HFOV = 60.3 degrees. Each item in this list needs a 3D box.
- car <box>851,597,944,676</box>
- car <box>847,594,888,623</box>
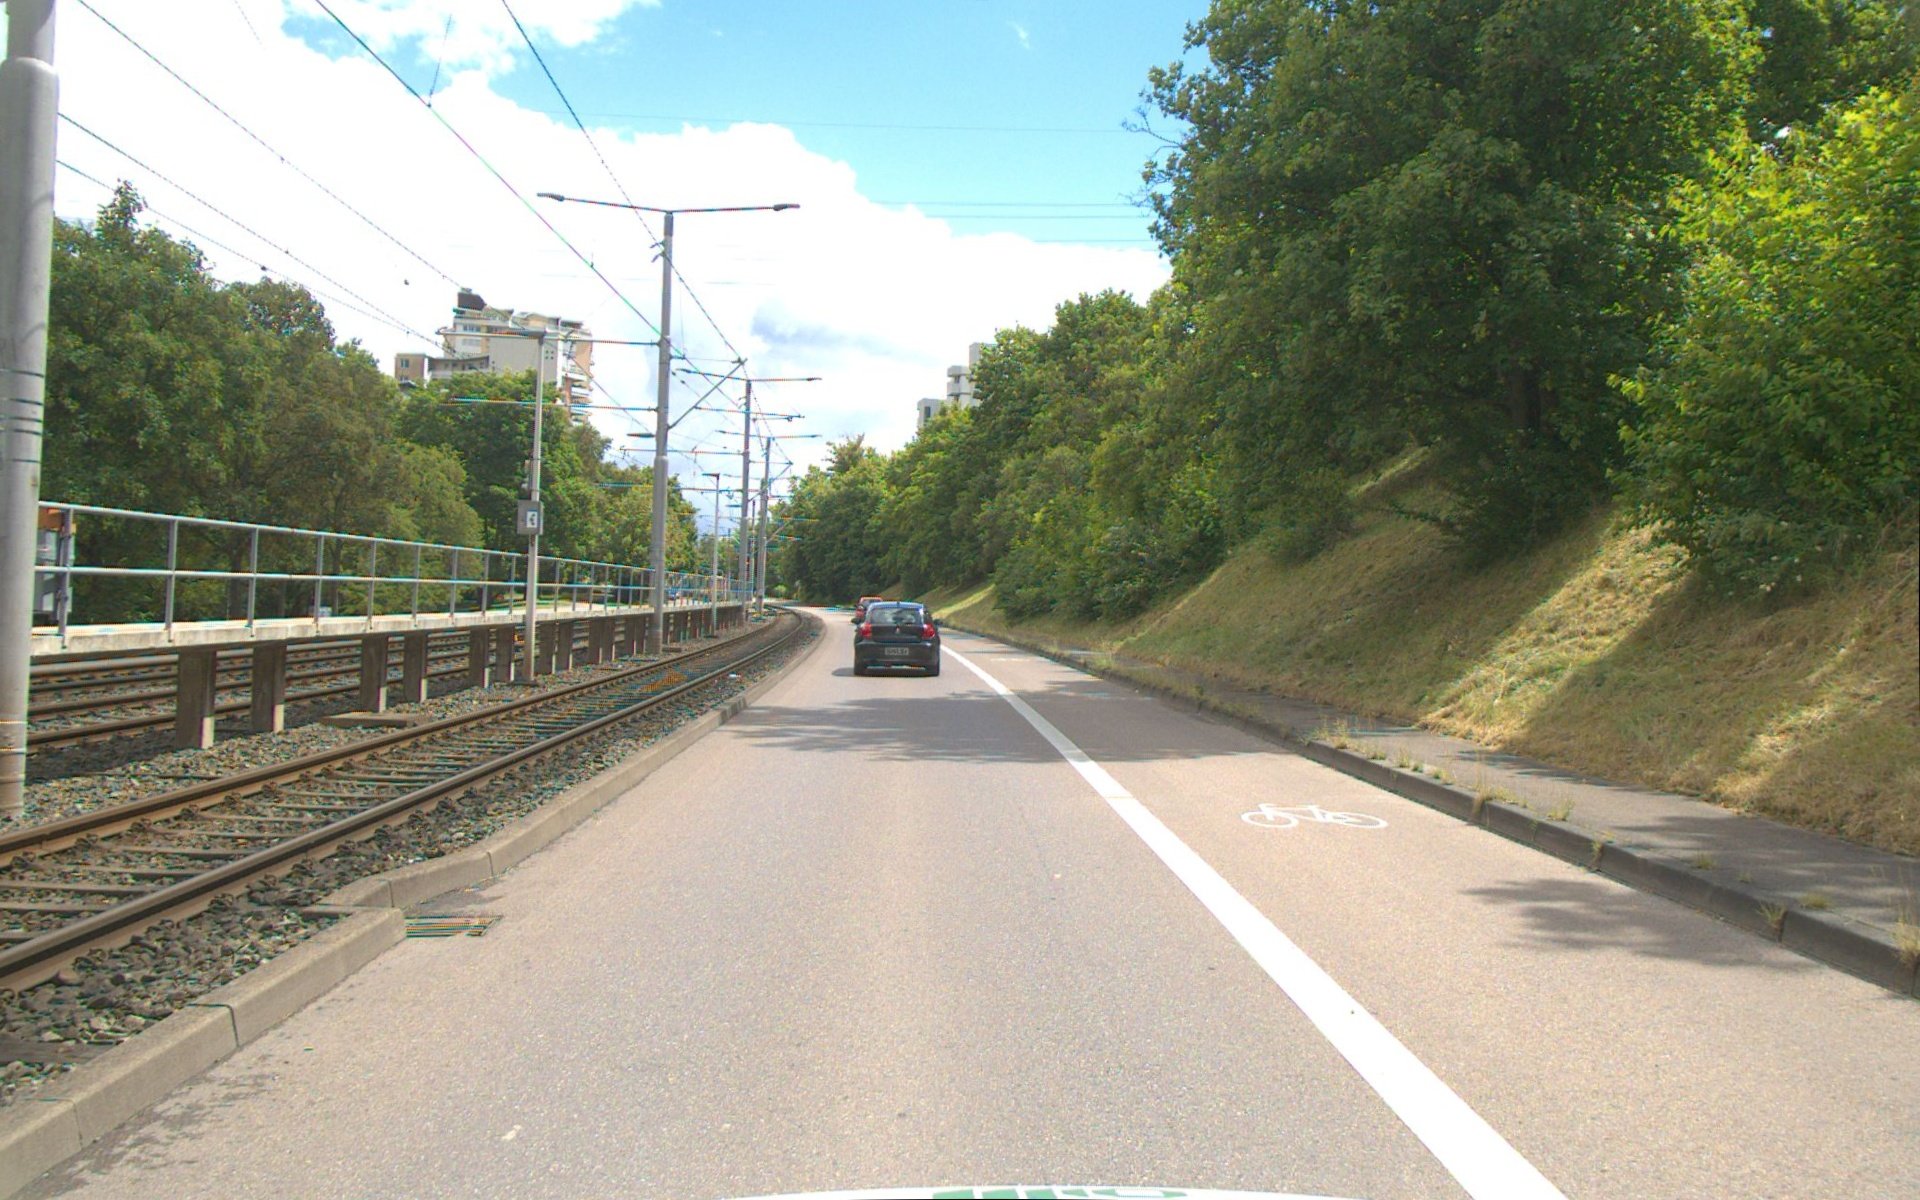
[{"bbox_3d":[-1.308,0.686,33.301,1.746,1.485,3.918,0,0,-4],"label":"car"},{"bbox_3d":[-4.970,0.470,88.700,1.749,1.485,3.912,1,0,-10],"label":"car"}]
